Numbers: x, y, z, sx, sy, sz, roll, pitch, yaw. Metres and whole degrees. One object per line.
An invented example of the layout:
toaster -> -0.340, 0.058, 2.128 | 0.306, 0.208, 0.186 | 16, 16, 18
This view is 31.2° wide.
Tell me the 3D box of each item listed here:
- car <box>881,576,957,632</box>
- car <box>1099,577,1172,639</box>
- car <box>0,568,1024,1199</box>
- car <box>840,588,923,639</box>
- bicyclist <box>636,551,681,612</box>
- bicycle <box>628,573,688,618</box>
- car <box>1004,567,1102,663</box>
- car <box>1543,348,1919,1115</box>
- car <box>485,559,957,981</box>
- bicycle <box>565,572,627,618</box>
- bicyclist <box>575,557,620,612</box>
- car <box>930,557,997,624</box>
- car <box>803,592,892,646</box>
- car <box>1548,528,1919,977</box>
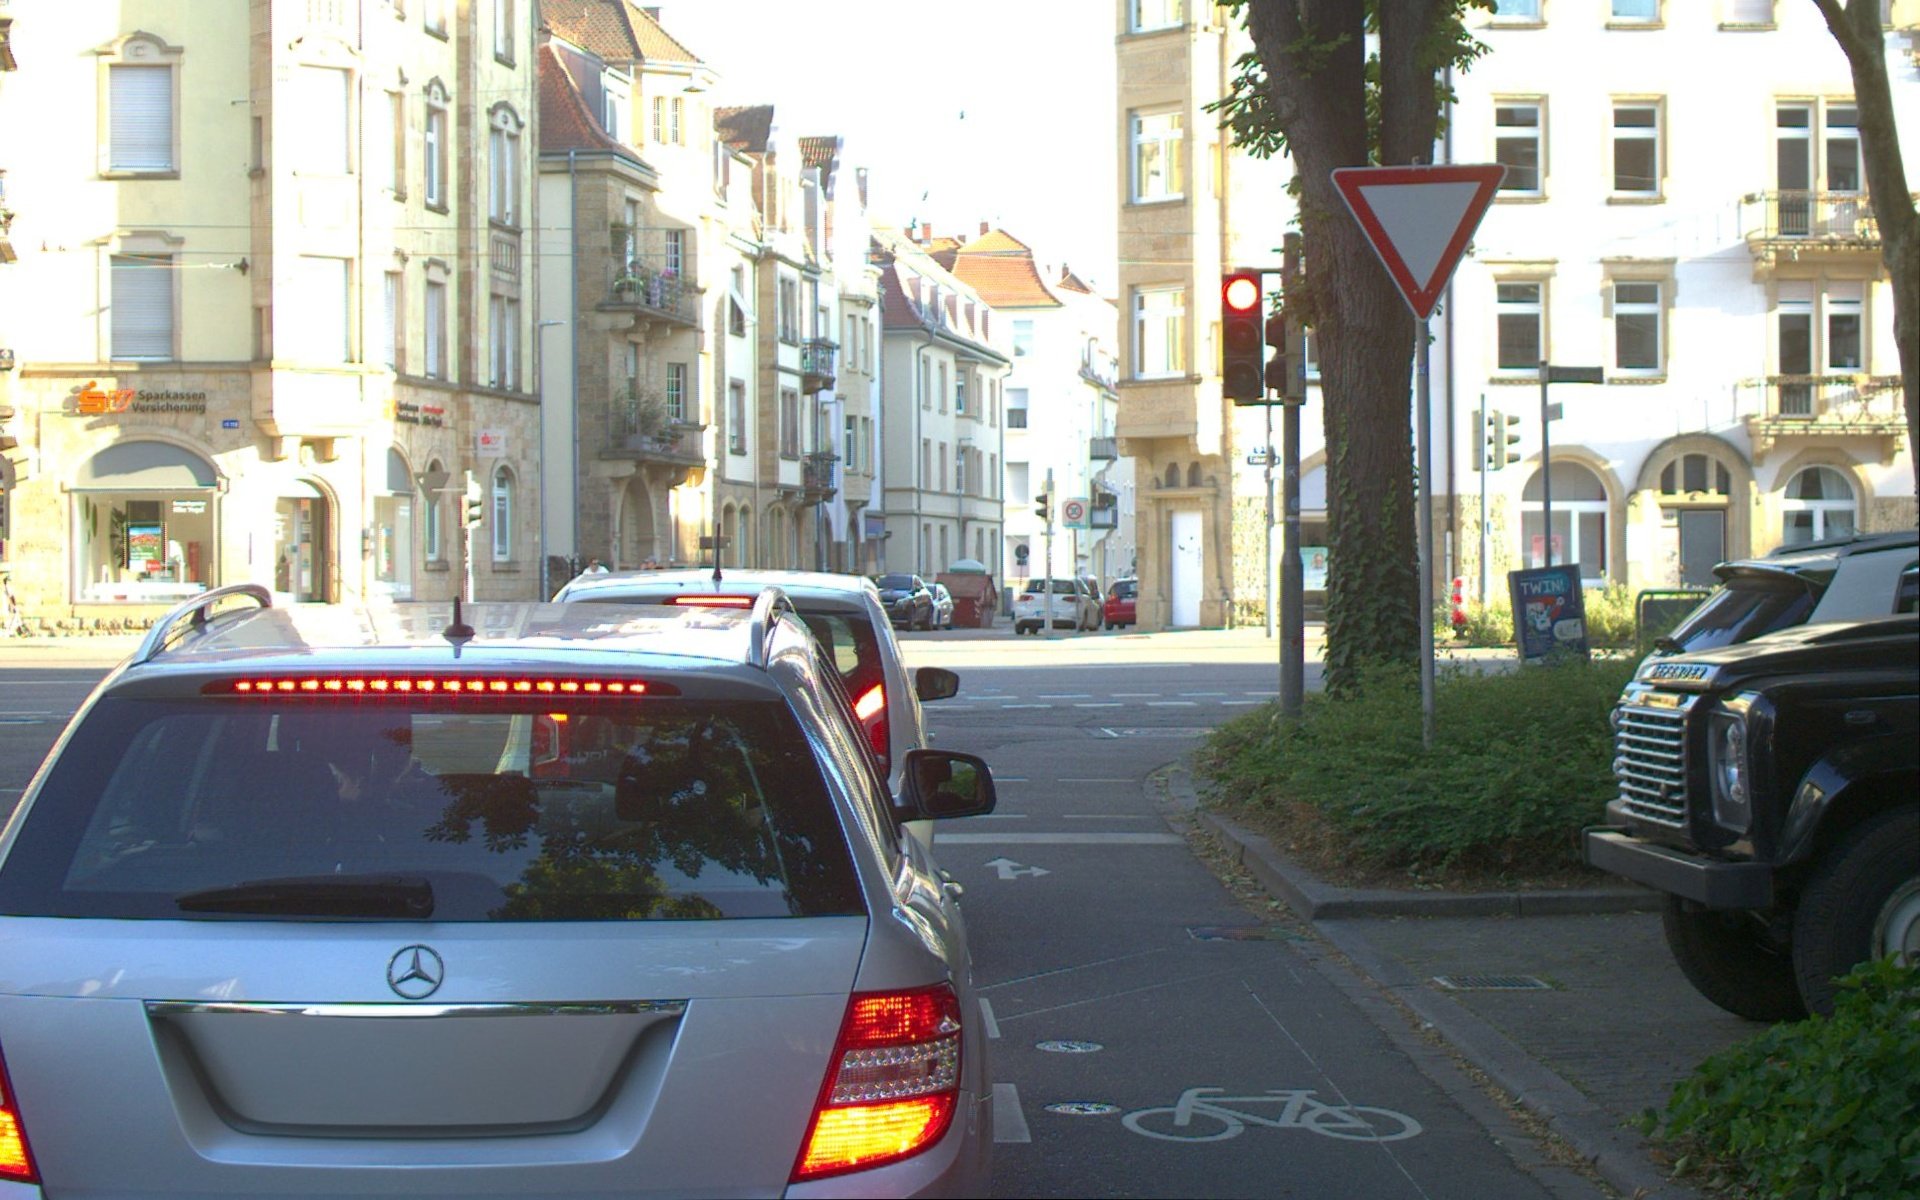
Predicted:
car -> -1.272, 0.120, 108.762 | 1.835, 1.657, 3.999 | 0, 1, 8
car -> 5.225, 0.220, 101.932 | 1.835, 1.738, 3.999 | 0, 1, 8
car -> -0.894, 0.674, 6.962 | 1.777, 1.447, 4.548 | 0, 1, -2
car -> -2.318, 0.395, 102.533 | 1.835, 1.397, 3.999 | 0, 1, 8
bicyclist -> -6.438, -0.399, 73.471 | 0.771, 1.285, 0.752 | 1, 1, 11
bicycle -> -6.439, -0.106, 73.475 | 0.771, 0.931, 1.939 | 1, 1, 11
car -> 2.348, 0.353, 85.900 | 2.031, 2.272, 3.999 | 0, 1, 8
car -> 4.139, 0.297, 10.122 | 4.465, 2.029, 1.701 | -1, 0, -3
car -> -0.910, 0.564, 14.052 | 1.619, 1.442, 4.345 | 0, 1, -2
bicycle -> -7.763, -0.116, 73.387 | 0.771, 0.936, 1.939 | 1, 1, 11
bicyclist -> -7.745, -0.338, 73.461 | 0.771, 1.152, 0.752 | 1, 1, 11
car -> 0.138, -0.350, 117.350 | 1.787, 2.196, 3.999 | 0, 1, 8
car -> -3.152, 0.523, 97.042 | 1.835, 1.397, 3.999 | 0, 1, 8
car -> 4.294, 0.497, 13.092 | 3.723, 1.564, 1.709 | -1, 0, -4
